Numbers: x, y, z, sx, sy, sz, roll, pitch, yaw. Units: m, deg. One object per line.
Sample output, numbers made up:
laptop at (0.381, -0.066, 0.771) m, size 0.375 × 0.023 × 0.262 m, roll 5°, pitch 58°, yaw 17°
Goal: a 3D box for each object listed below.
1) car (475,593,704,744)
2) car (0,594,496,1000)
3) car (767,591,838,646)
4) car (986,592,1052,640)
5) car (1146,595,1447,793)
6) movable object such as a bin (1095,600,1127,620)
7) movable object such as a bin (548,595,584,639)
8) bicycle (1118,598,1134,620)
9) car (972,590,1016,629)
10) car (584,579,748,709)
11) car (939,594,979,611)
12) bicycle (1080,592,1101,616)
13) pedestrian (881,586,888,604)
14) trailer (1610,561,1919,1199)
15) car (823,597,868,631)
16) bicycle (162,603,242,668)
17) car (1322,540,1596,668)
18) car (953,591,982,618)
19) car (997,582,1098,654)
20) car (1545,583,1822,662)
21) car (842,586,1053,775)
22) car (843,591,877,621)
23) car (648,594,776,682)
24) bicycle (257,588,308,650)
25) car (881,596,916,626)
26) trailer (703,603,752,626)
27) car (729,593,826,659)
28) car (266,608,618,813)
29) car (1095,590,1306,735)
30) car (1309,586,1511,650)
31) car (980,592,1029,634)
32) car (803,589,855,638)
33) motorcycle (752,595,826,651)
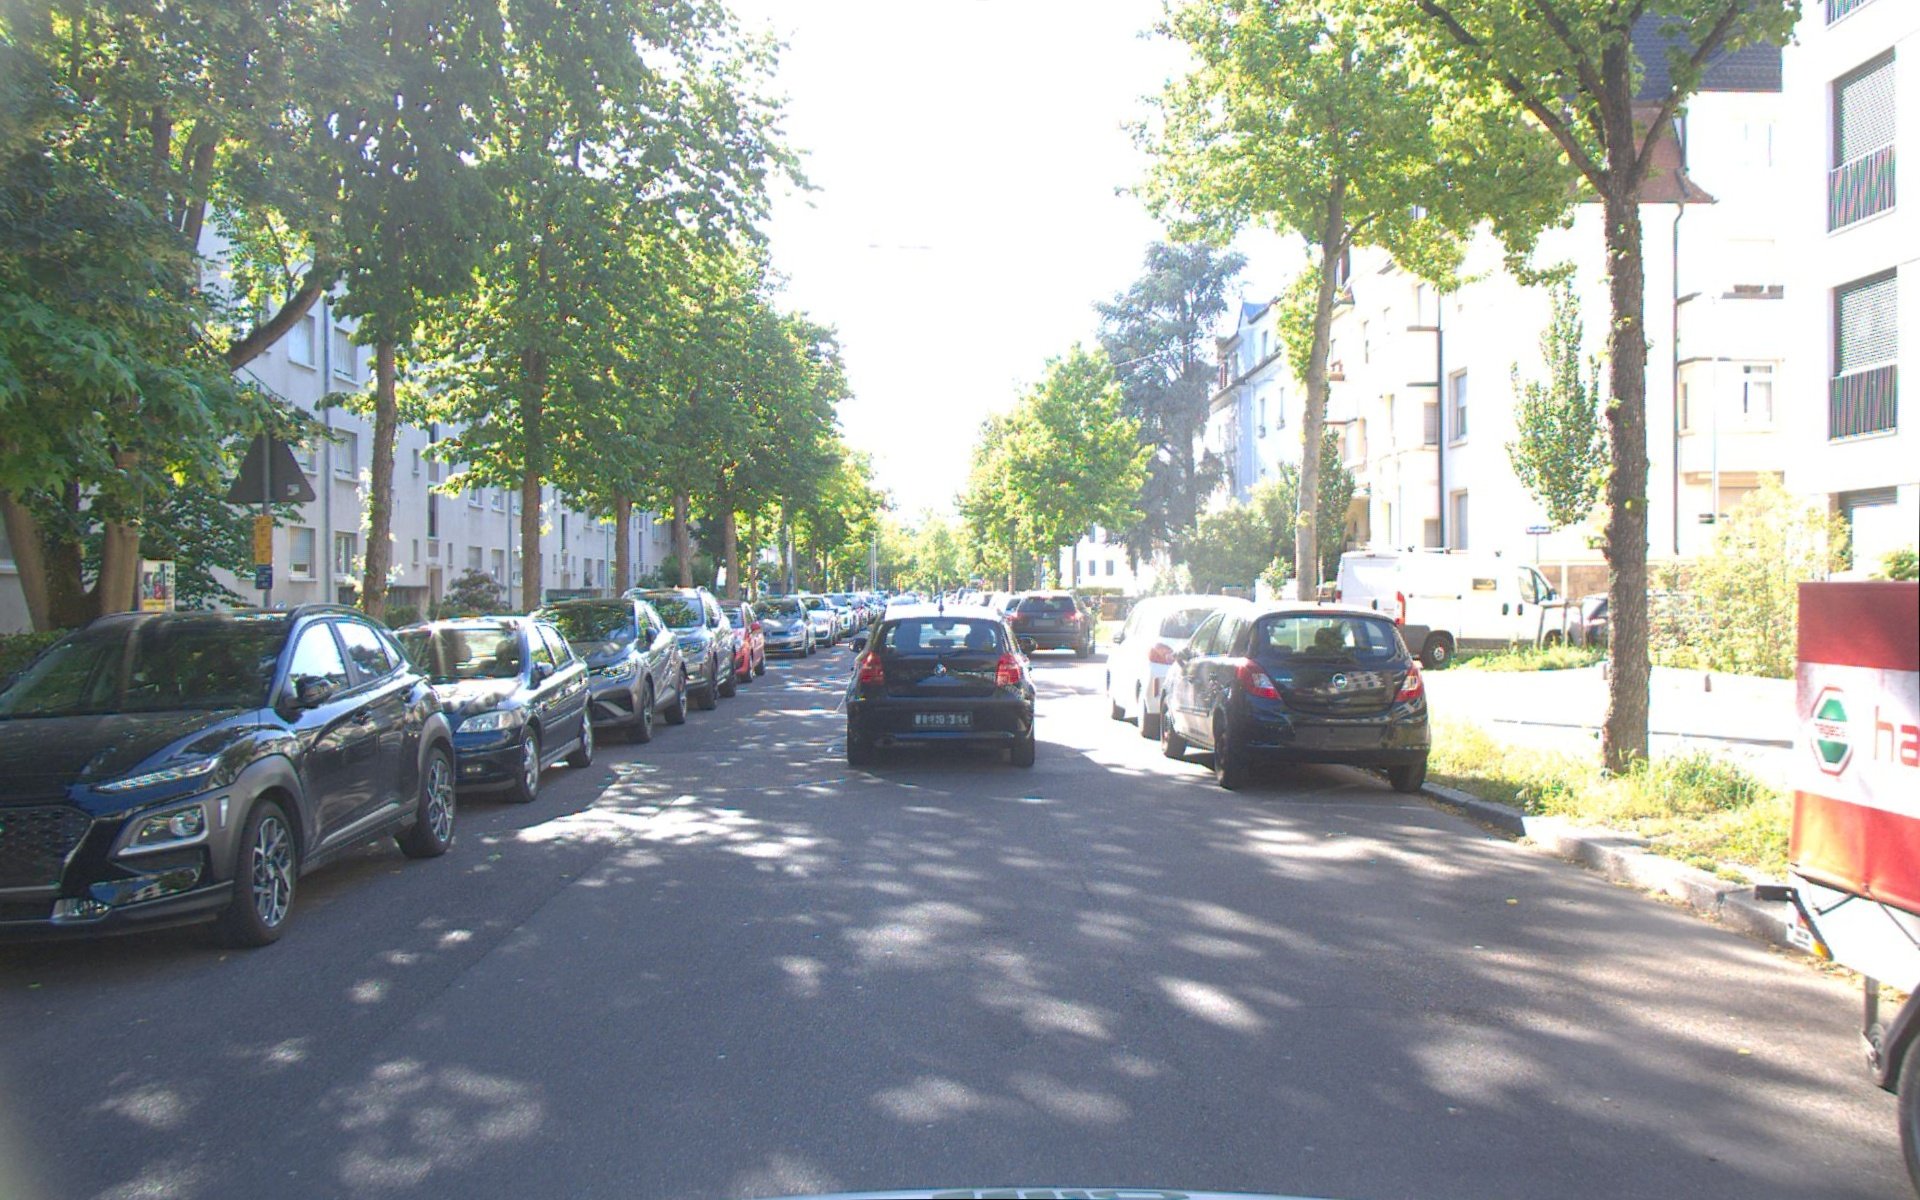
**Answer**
car at (-4.216, 0.702, 19.507) m, size 1.733 × 1.558 × 4.419 m, roll -1°, pitch 0°, yaw -1°
car at (-3.962, 0.794, 8.870) m, size 1.671 × 1.604 × 4.481 m, roll -1°, pitch 0°, yaw 0°
car at (-4.747, 0.522, 50.293) m, size 2.023 × 1.551 × 4.718 m, roll -1°, pitch 0°, yaw -4°
car at (1.929, 0.510, 55.035) m, size 1.785 × 1.495 × 4.907 m, roll 1°, pitch 0°, yaw -3°
car at (2.819, 0.718, 14.770) m, size 1.636 × 1.476 × 4.177 m, roll 2°, pitch 0°, yaw -3°
movable object such as a bin at (7.330, 0.473, 80.323) m, size 1.196 × 0.920 × 1.665 m, roll -1°, pitch 0°, yaw 19°
movable object such as a bin at (-12.342, 0.528, 51.787) m, size 0.912 × 1.347 × 1.377 m, roll -1°, pitch 0°, yaw -7°
bicycle at (7.703, 0.417, 76.824) m, size 0.569 × 0.992 × 1.903 m, roll -1°, pitch 0°, yaw 0°
car at (1.512, 0.410, 75.324) m, size 1.886 × 1.680 × 5.095 m, roll 1°, pitch 0°, yaw 0°
car at (-4.276, 0.586, 24.742) m, size 1.732 × 1.717 × 4.812 m, roll -1°, pitch 0°, yaw -2°
car at (-0.078, 0.241, 166.781) m, size 3.909 × 1.615 × 1.725 m, roll -1°, pitch 0°, yaw -6°
bicycle at (7.319, 0.221, 92.693) m, size 0.822 × 1.279 × 2.229 m, roll 0°, pitch 0°, yaw -5°
pedestrian at (-8.076, -0.540, 177.689) m, size 0.701 × 1.933 × 0.836 m, roll -1°, pitch 0°, yaw -2°
trailer at (3.156, 0.726, 4.466) m, size 1.542 × 1.606 × 3.192 m, roll 2°, pitch 0°, yaw 1°
car at (-5.113, 0.594, 74.503) m, size 1.743 × 1.403 × 4.261 m, roll -3°, pitch 0°, yaw -1°
bicycle at (-15.078, 0.689, 32.952) m, size 0.671 × 1.222 × 1.912 m, roll -1°, pitch 0°, yaw 1°
car at (9.824, 0.036, 32.549) m, size 4.976 × 2.346 × 2.217 m, roll -1°, pitch 0°, yaw -25°
car at (0.539, 0.363, 125.186) m, size 1.931 × 1.983 × 4.983 m, roll -1°, pitch 0°, yaw -2°
car at (1.954, 0.408, 38.287) m, size 1.857 × 1.551 × 4.964 m, roll 0°, pitch -1°, yaw -3°
car at (14.782, 0.444, 33.964) m, size 4.830 × 1.495 × 2.046 m, roll -1°, pitch 0°, yaw -3°
car at (-0.106, 0.672, 15.961) m, size 1.746 × 1.550 × 4.000 m, roll -1°, pitch 0°, yaw 0°
car at (-5.742, 0.332, 94.937) m, size 1.775 × 1.624 × 4.231 m, roll -1°, pitch 0°, yaw -2°
car at (-4.566, 0.661, 30.995) m, size 1.818 × 1.495 × 4.181 m, roll -1°, pitch 0°, yaw -1°
bicycle at (-14.977, 0.407, 36.592) m, size 0.390 × 1.311 × 1.913 m, roll -1°, pitch 0°, yaw -2°
car at (-3.257, 0.581, 88.063) m, size 1.773 × 1.471 × 4.364 m, roll -2°, pitch 0°, yaw -2°
trailer at (-10.733, 0.657, 76.529) m, size 1.752 × 1.052 × 3.281 m, roll -1°, pitch 0°, yaw 1°
car at (-4.619, 0.621, 42.465) m, size 2.001 × 1.551 × 4.606 m, roll -1°, pitch 0°, yaw 0°
car at (-4.164, 0.797, 14.078) m, size 1.749 × 1.376 × 4.479 m, roll -1°, pitch 0°, yaw -3°
car at (2.684, 0.648, 19.338) m, size 1.698 × 1.513 × 4.007 m, roll 0°, pitch 0°, yaw -3°
car at (10.920, 0.439, 40.396) m, size 4.617 × 1.495 × 1.955 m, roll -1°, pitch 0°, yaw 13°
car at (1.748, 0.495, 65.748) m, size 1.621 × 1.559 × 3.967 m, roll 2°, pitch 0°, yaw -3°
car at (-4.875, 0.499, 62.041) m, size 1.694 × 1.646 × 4.364 m, roll -4°, pitch 0°, yaw -2°
motorcycle at (-4.805, 0.643, 46.313) m, size 0.981 × 1.530 × 2.200 m, roll -1°, pitch 0°, yaw -41°
